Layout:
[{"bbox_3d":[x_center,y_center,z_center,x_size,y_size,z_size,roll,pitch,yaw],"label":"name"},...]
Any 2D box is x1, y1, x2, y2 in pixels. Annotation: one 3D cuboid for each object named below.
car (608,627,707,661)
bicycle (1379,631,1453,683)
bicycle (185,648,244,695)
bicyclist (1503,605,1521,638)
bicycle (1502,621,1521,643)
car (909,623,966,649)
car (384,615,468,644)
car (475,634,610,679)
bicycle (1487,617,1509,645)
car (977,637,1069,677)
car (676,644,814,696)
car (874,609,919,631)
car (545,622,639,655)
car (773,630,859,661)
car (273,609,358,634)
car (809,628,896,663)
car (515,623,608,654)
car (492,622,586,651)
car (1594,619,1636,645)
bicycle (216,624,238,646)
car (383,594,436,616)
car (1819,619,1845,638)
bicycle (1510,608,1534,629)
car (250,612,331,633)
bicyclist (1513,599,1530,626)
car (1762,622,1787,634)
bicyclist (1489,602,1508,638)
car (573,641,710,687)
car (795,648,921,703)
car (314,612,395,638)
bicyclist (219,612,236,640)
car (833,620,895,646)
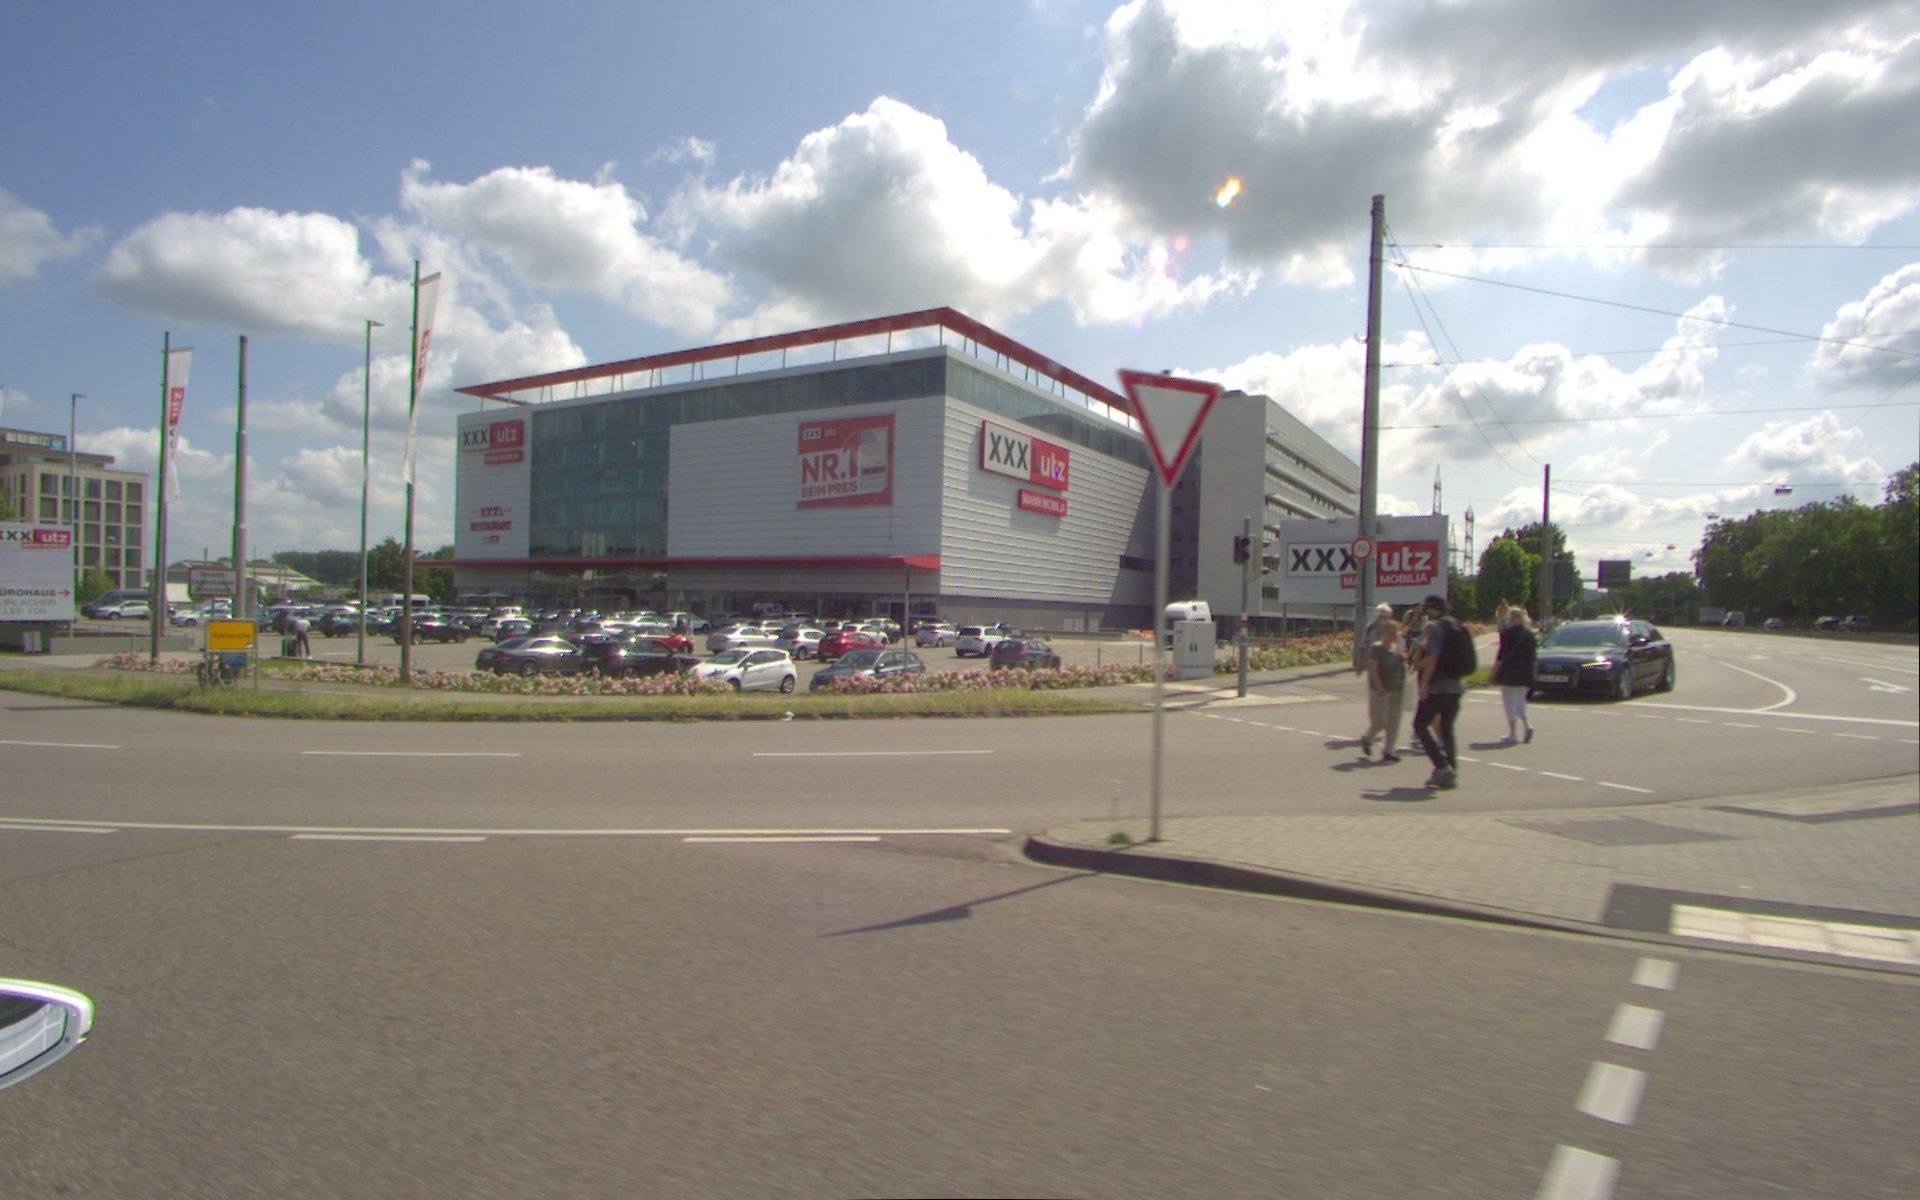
[{"bbox_3d":[-14.366,2.070,47.796,1.820,1.380,4.348,2,1,34],"label":"car"},{"bbox_3d":[10.560,1.305,23.242,0.499,1.061,1.691,2,1,-18],"label":"bicycle"},{"bbox_3d":[-16.521,1.573,22.180,1.521,0.964,0.516,0,-2,32],"label":"bicycle"},{"bbox_3d":[25.148,0.979,45.594,0.642,1.494,0.739,2,-1,33],"label":"bicyclist"},{"bbox_3d":[25.092,1.458,45.563,0.656,0.973,1.687,0,-1,32],"label":"bicycle"},{"bbox_3d":[-1.404,2.321,64.442,1.890,1.549,3.984,2,-2,29],"label":"car"},{"bbox_3d":[-30.800,1.669,57.860,1.715,1.551,4.050,1,0,28],"label":"car"},{"bbox_3d":[-15.293,2.017,36.894,1.831,1.495,4.349,0,-1,34],"label":"car"},{"bbox_3d":[23.360,1.360,43.482,0.613,1.180,1.496,2,-1,36],"label":"bicycle"},{"bbox_3d":[2.766,2.416,43.105,2.020,1.428,4.348,2,1,34],"label":"car"},{"bbox_3d":[-6.762,2.171,31.896,1.771,1.458,4.352,0,-2,32],"label":"car"},{"bbox_3d":[-5.000,1.578,79.072,1.656,1.542,3.635,2,-2,32],"label":"car"},{"bbox_3d":[-18.523,1.895,50.591,1.658,1.528,4.348,1,0,34],"label":"car"},{"bbox_3d":[-7.164,2.241,50.143,1.820,1.380,4.348,2,1,34],"label":"car"},{"bbox_3d":[-42.780,1.399,66.522,2.000,1.595,4.352,1,0,30],"label":"car"},{"bbox_3d":[-5.186,2.174,48.748,1.820,1.446,4.348,2,1,34],"label":"car"},{"bbox_3d":[-20.646,1.960,52.003,1.604,1.461,4.348,2,1,34],"label":"car"},{"bbox_3d":[-22.315,1.907,53.261,1.820,1.380,4.348,2,1,34],"label":"car"},{"bbox_3d":[35.417,1.728,54.204,1.723,1.378,4.230,0,-2,31],"label":"car"},{"bbox_3d":[-37.949,1.822,51.854,0.619,1.082,1.947,1,0,-45],"label":"bicycle"},{"bbox_3d":[-52.644,0.488,95.770,1.971,1.976,3.981,2,-1,32],"label":"car"},{"bbox_3d":[94.153,3.103,108.130,1.782,1.883,3.573,1,-1,36],"label":"car"},{"bbox_3d":[28.344,0.923,50.506,0.590,0.973,1.972,1,-1,42],"label":"bicycle"},{"bbox_3d":[-46.638,1.530,69.832,1.738,1.342,4.352,1,0,30],"label":"car"},{"bbox_3d":[28.312,0.618,50.460,0.586,1.342,0.682,2,-1,43],"label":"bicyclist"},{"bbox_3d":[107.078,3.683,131.652,1.905,1.382,3.729,2,-2,30],"label":"car"},{"bbox_3d":[23.400,0.863,43.500,0.612,1.555,0.693,2,-1,36],"label":"bicyclist"},{"bbox_3d":[-10.890,2.150,34.569,1.830,1.434,4.352,0,-2,32],"label":"car"},{"bbox_3d":[-2.914,2.156,29.395,1.690,1.436,3.983,0,-2,30],"label":"car"},{"bbox_3d":[-38.818,1.602,64.288,1.738,1.573,4.176,2,0,30],"label":"car"},{"bbox_3d":[-37.911,1.359,51.825,0.707,1.431,0.612,1,0,44],"label":"bicyclist"},{"bbox_3d":[-5.845,2.019,61.560,1.644,1.470,3.981,2,-2,33],"label":"car"}]
